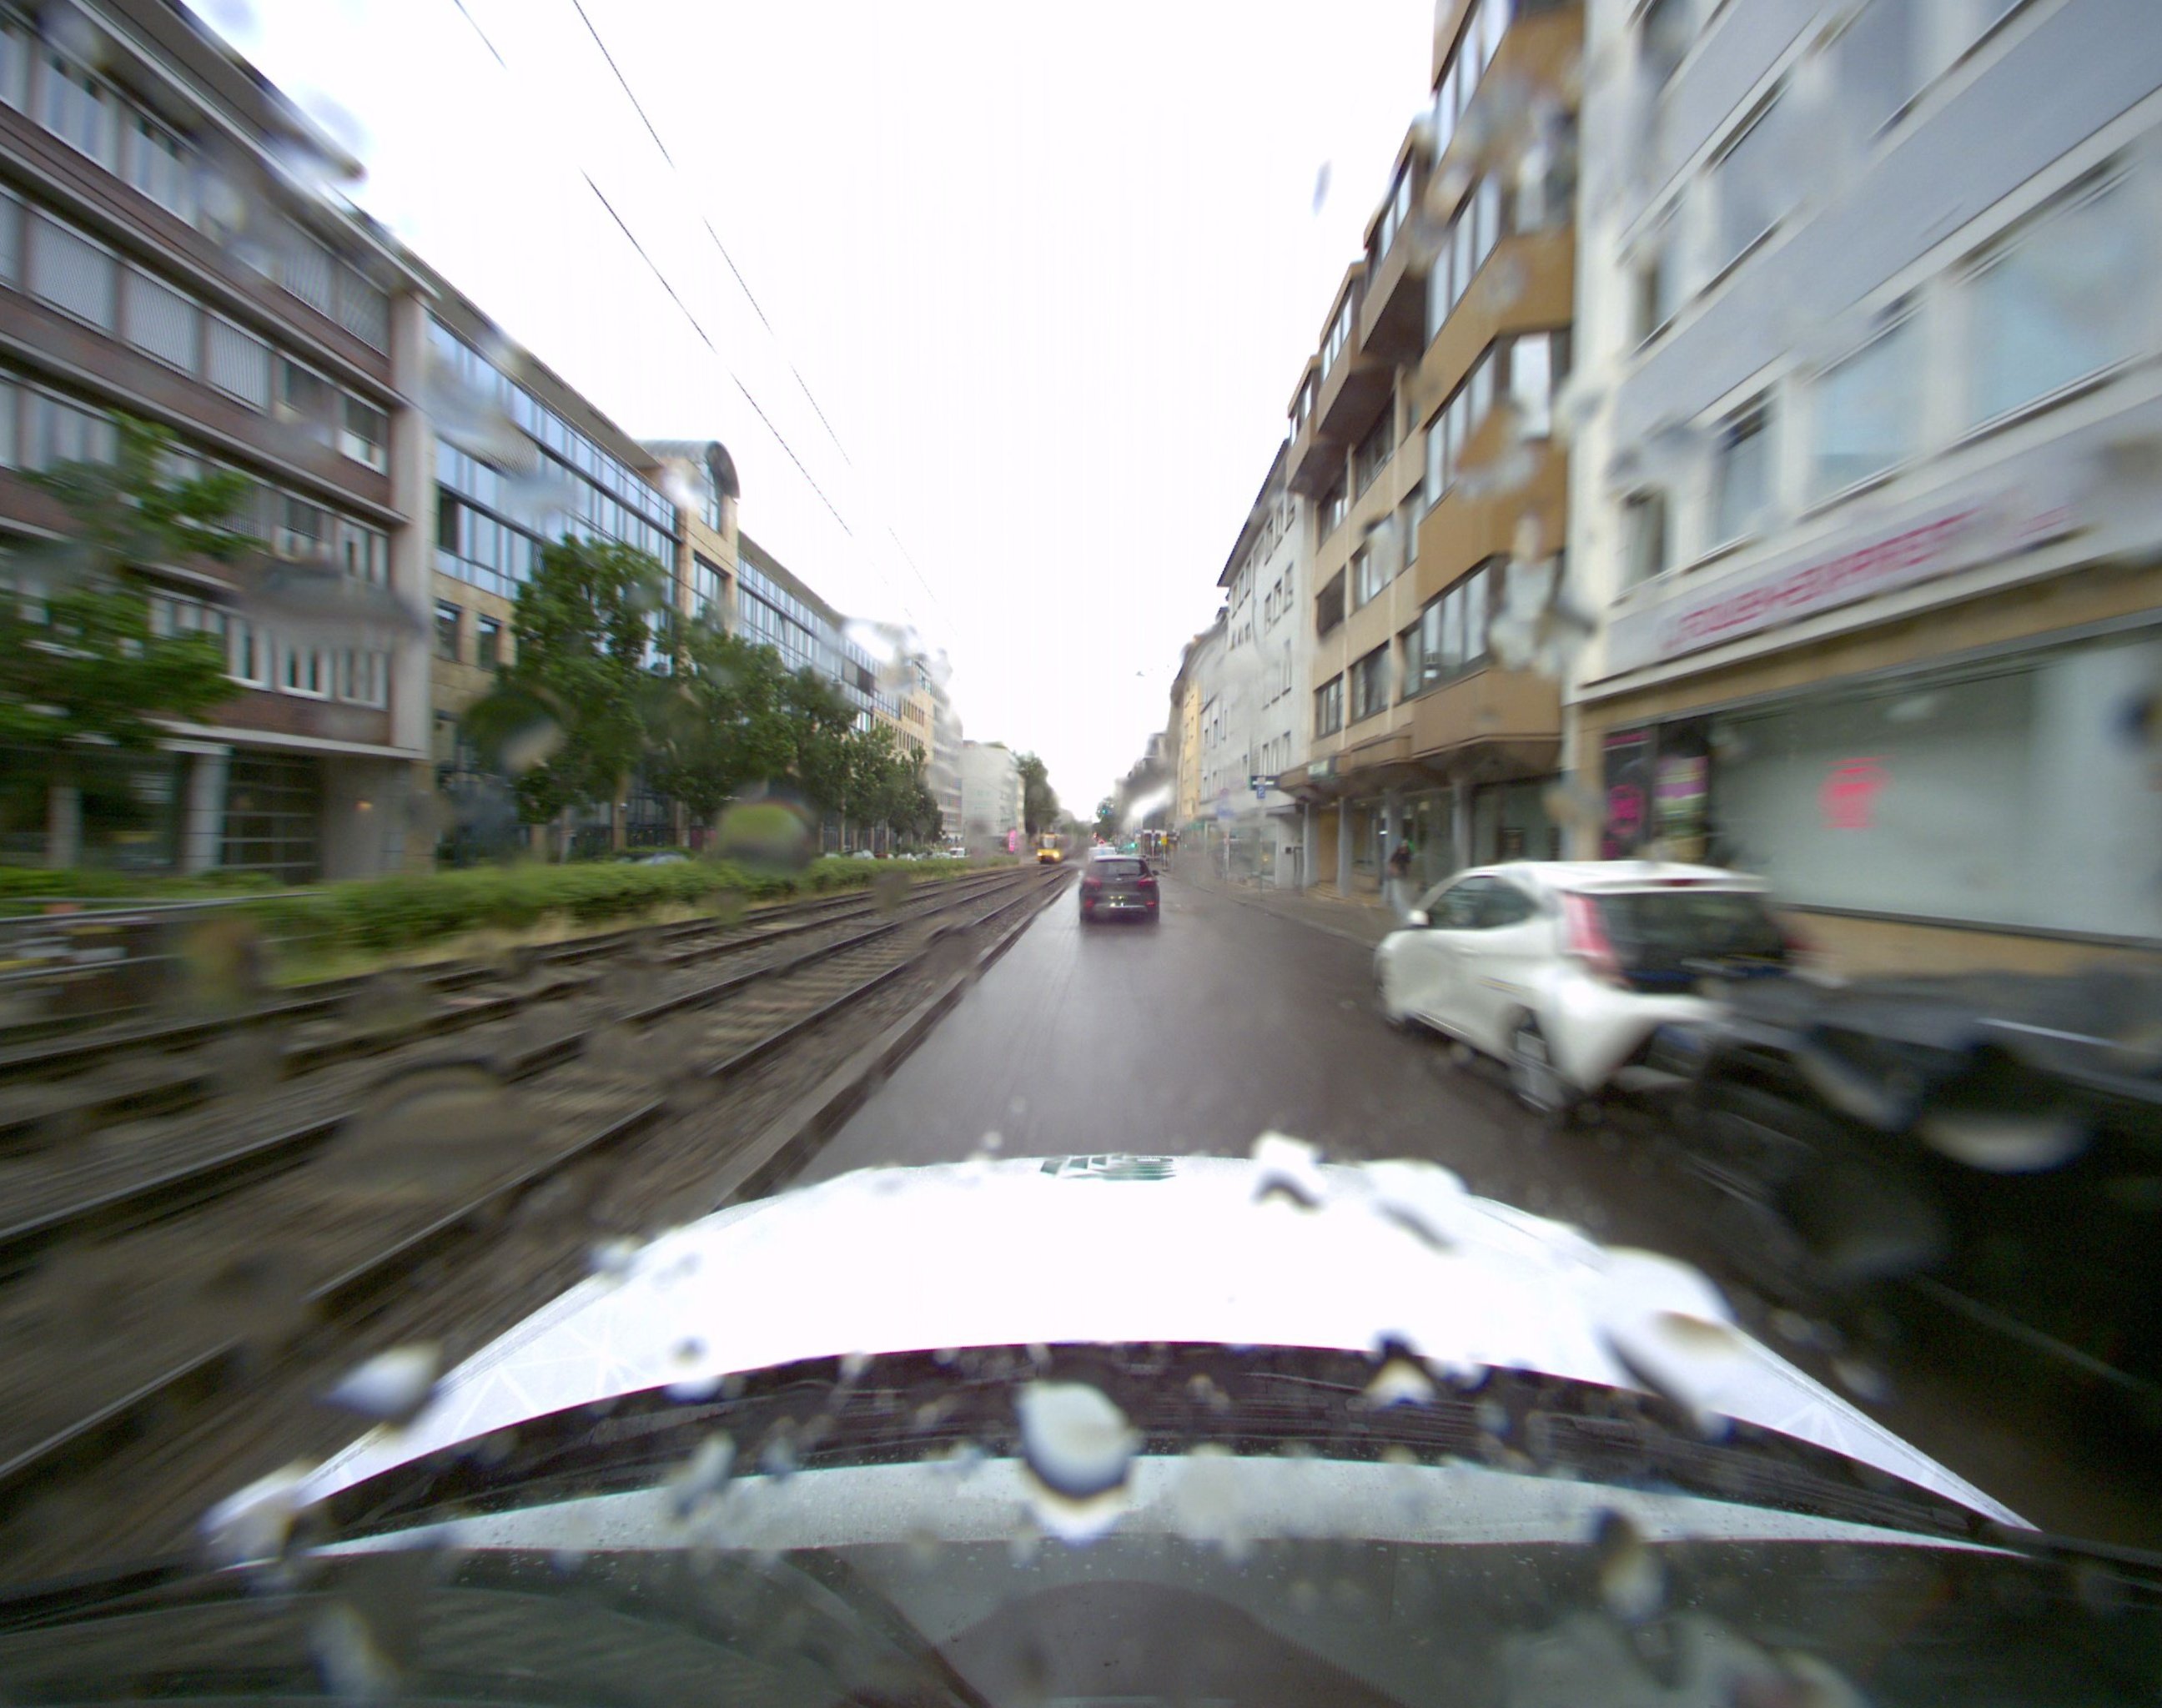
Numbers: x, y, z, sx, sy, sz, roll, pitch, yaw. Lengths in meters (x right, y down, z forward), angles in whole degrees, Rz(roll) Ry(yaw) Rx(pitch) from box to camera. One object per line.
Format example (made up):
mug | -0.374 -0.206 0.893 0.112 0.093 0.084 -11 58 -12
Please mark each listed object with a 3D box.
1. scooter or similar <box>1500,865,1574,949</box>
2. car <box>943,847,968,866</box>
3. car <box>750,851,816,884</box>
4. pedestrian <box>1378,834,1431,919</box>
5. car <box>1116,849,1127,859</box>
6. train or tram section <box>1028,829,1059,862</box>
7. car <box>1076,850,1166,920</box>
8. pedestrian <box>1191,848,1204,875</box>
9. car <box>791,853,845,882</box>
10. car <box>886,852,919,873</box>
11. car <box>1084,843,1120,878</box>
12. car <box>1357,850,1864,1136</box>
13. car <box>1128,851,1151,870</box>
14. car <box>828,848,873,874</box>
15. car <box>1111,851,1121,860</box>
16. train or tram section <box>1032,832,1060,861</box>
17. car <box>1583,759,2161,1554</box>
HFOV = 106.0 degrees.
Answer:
scooter or similar | 6.243 0.701 11.209 0.209 1.083 1.231 0 0 -7
car | -12.659 0.302 82.165 1.901 1.865 4.570 1 -1 -2
car | -13.633 0.604 37.471 1.564 1.436 4.175 0 0 -2
pedestrian | 6.447 0.437 16.283 0.693 1.652 0.966 0 0 0
car | 6.695 0.046 134.794 1.899 1.633 4.576 1 -1 2
train or tram section | -4.491 -1.003 100.211 3.503 3.777 11.325 0 0 -1
car | 0.906 0.678 18.988 1.899 1.462 3.446 1 -1 2
pedestrian | 6.621 0.440 46.238 0.609 1.537 0.649 0 0 0
car | -13.768 0.663 42.842 1.564 1.436 4.175 0 0 -2
car | -12.948 0.617 59.162 1.564 1.436 4.175 0 0 -2
car | 1.235 0.364 46.074 1.898 1.865 4.577 1 -1 3
car | 3.361 0.724 6.033 1.551 1.476 3.567 0 0 2
car | 5.233 0.618 72.793 1.899 1.633 4.576 1 -1 2
car | -13.379 0.404 47.466 1.564 1.436 4.175 0 0 -2
car | 7.163 0.343 166.489 1.899 1.633 4.576 1 -1 2
train or tram section | -4.707 -1.015 111.520 3.528 3.777 11.325 0 0 -1
car | 3.110 0.623 1.079 1.801 1.631 5.170 0 0 1
